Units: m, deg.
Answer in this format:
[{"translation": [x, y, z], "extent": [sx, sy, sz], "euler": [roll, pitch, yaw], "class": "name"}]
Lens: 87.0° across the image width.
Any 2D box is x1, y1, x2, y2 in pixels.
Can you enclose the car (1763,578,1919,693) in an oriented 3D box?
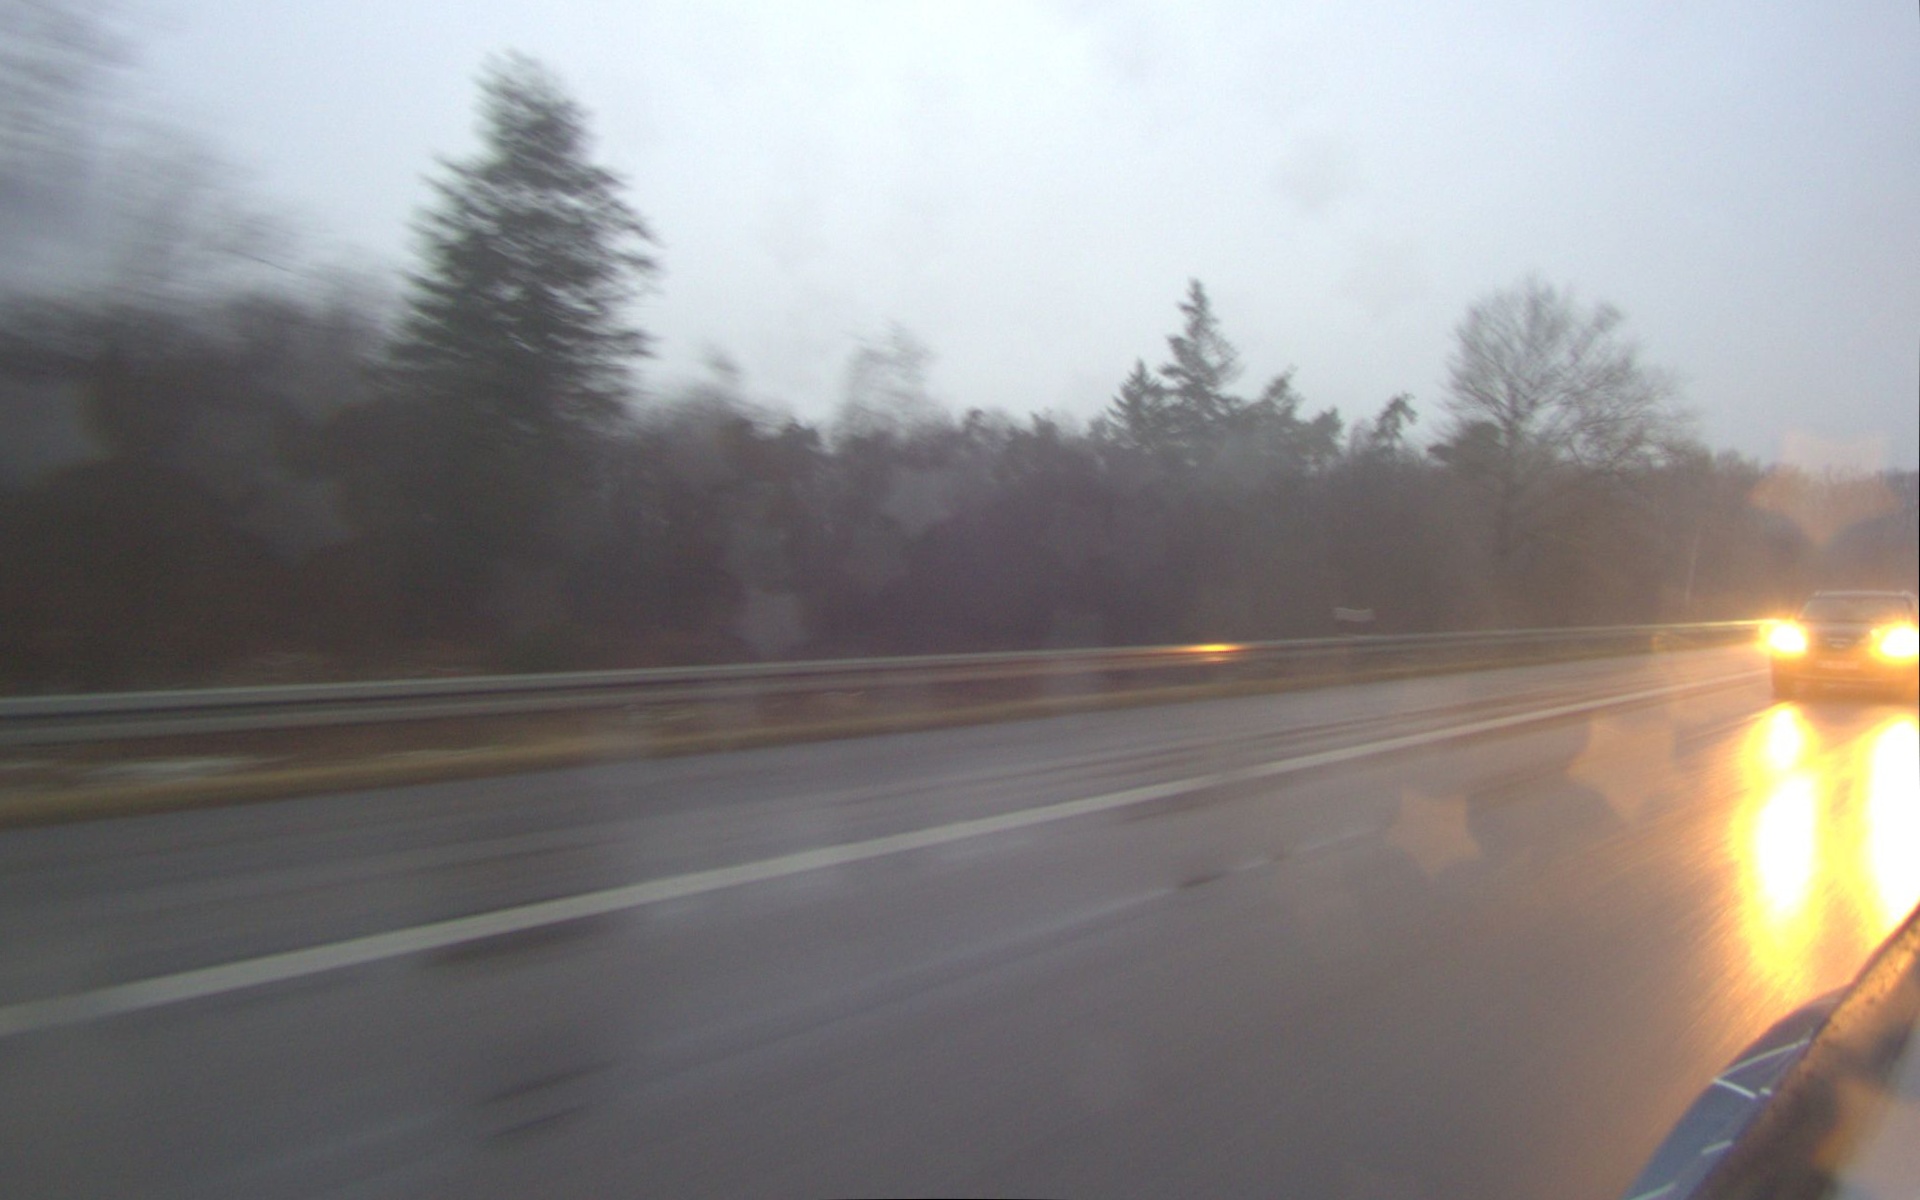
[{"translation": [15.434, 0.521, 17.151], "extent": [4.382, 1.719, 2.074], "euler": [0, 1, -41], "class": "car"}]
